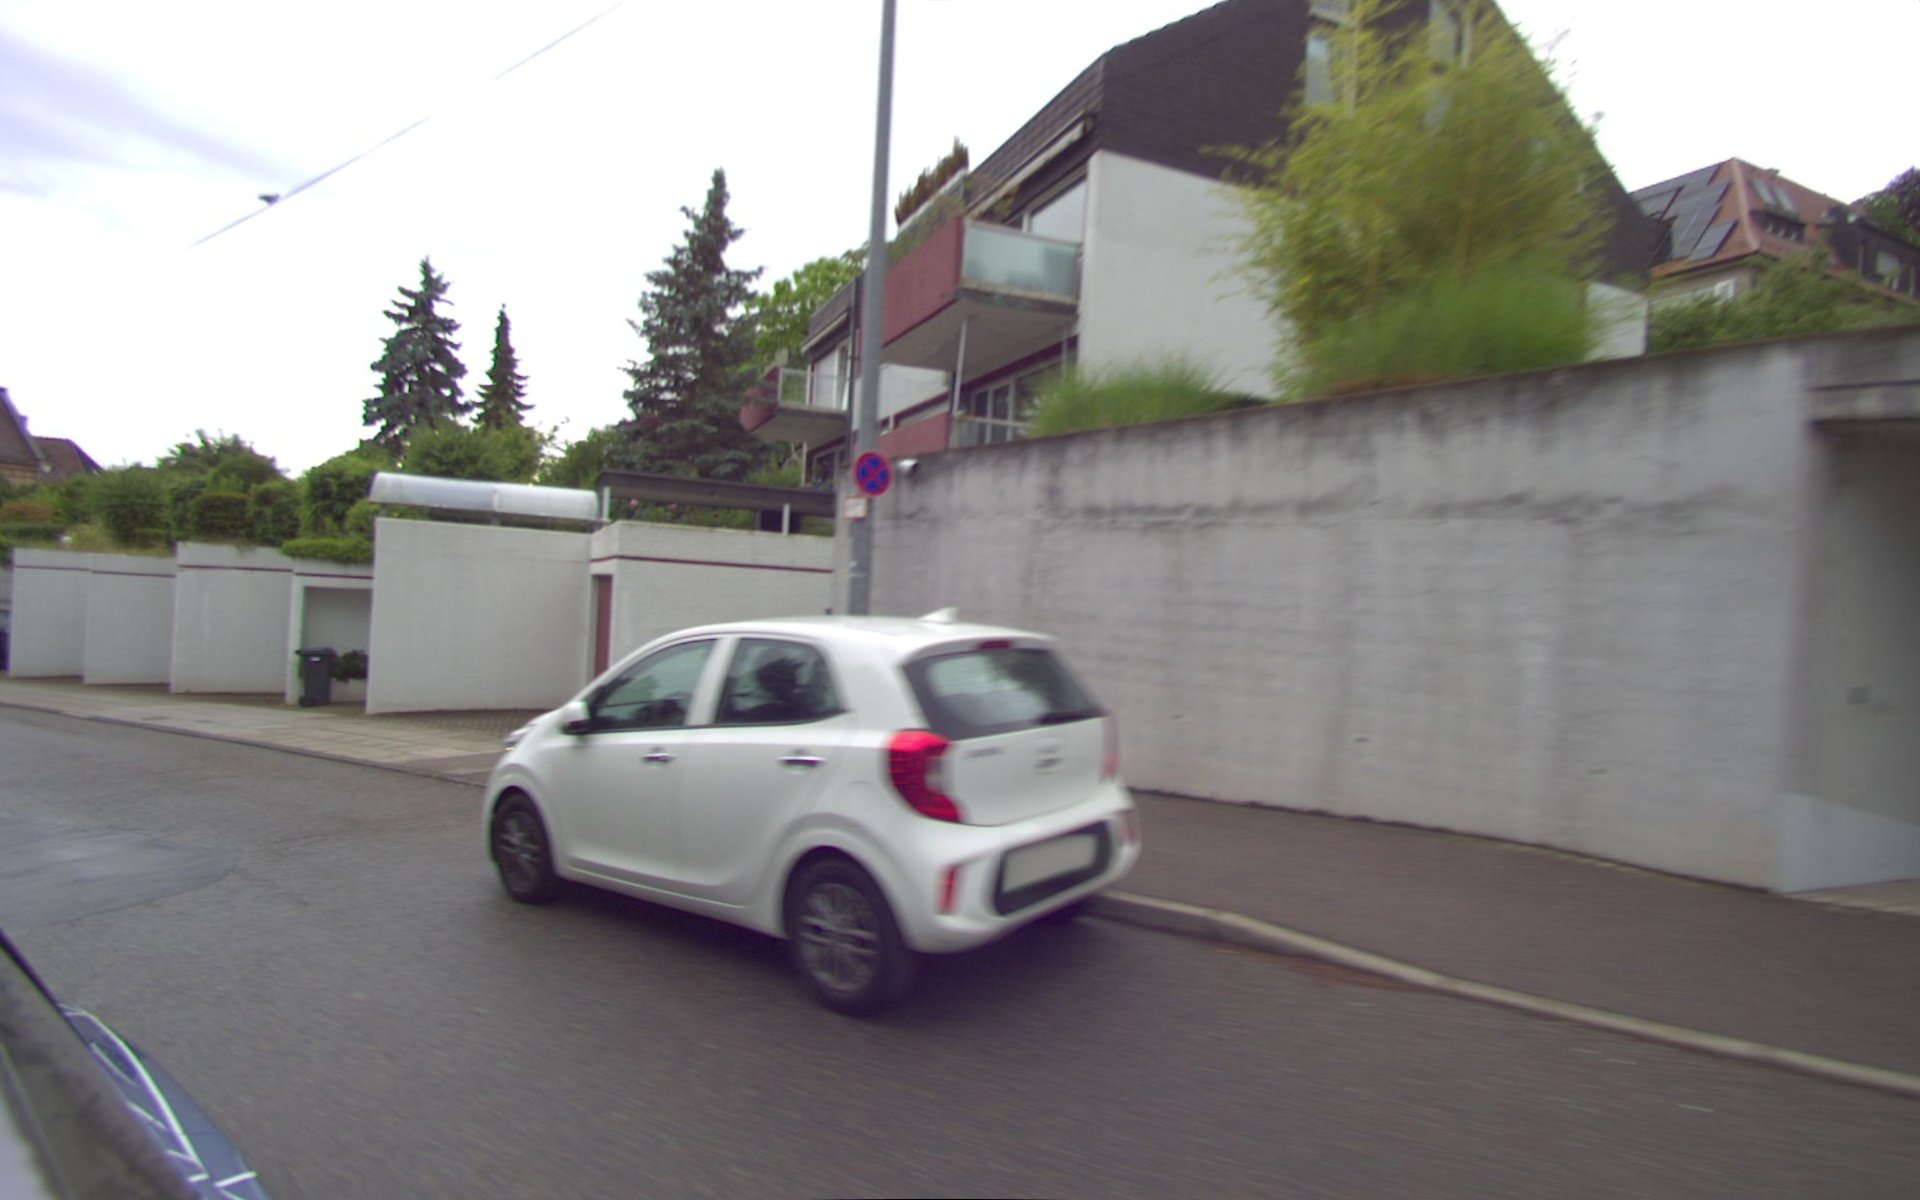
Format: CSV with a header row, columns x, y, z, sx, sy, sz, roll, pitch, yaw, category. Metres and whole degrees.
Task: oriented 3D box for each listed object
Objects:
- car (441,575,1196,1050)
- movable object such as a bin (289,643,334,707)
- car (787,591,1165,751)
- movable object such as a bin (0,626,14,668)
x,y,z,sx,sy,sz,roll,pitch,yaw,category
-0.929,0.737,5.115,3.828,1.527,1.611,-1,-2,39,car
-10.433,1.197,16.301,0.535,0.970,0.648,0,-1,-25,movable object such as a bin
0.174,0.702,11.482,3.863,1.489,1.773,-1,0,-23,car
-23.320,1.139,24.362,0.599,0.999,0.603,-1,0,-21,movable object such as a bin
